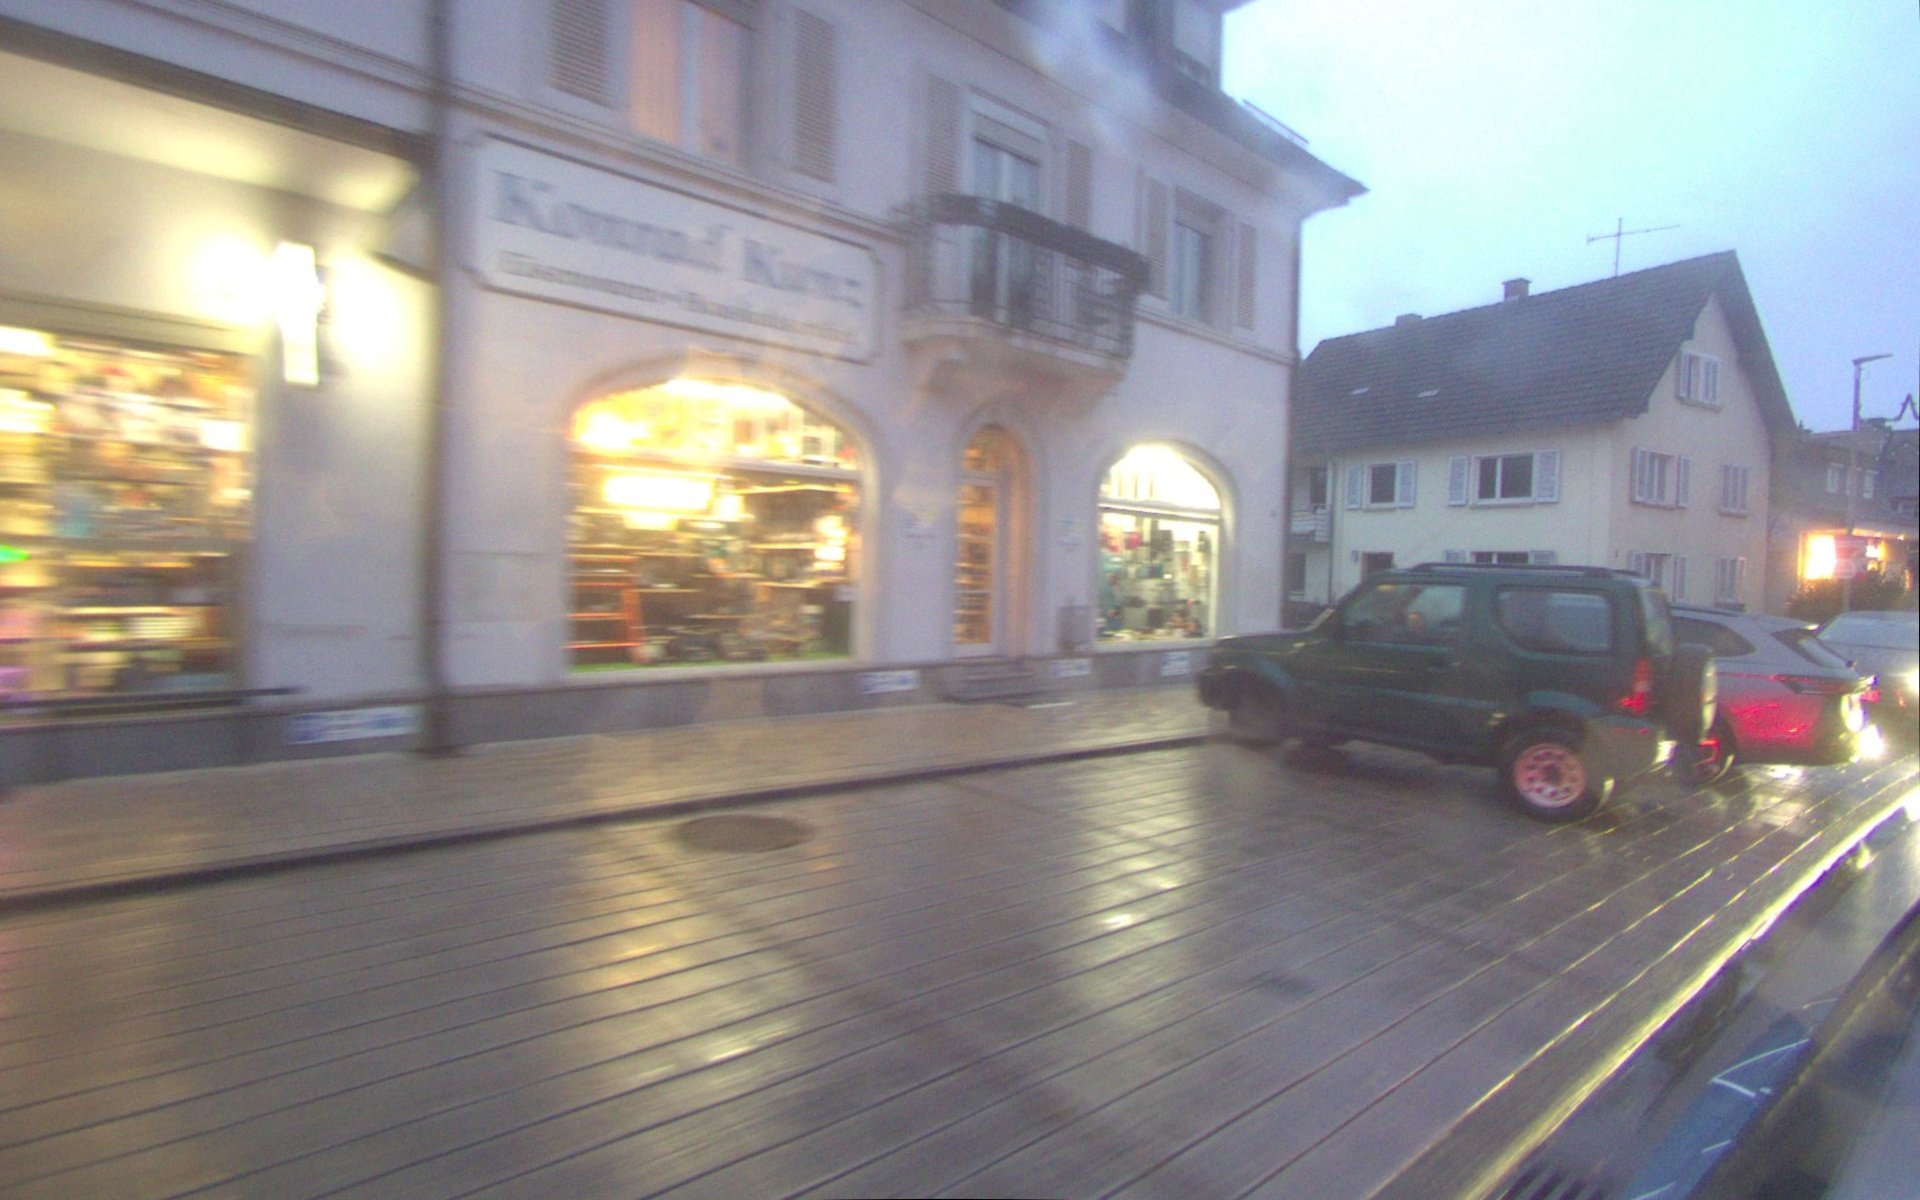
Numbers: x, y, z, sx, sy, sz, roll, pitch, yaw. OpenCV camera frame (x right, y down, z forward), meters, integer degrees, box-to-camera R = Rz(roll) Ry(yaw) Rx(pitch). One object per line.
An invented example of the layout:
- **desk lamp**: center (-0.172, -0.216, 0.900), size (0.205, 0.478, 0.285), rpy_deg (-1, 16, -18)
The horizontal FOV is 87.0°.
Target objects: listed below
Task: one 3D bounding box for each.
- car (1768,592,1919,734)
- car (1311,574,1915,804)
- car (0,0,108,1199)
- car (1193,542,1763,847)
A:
- **car**: center (12.598, 0.779, 13.424), size (4.585, 1.566, 1.888), rpy_deg (1, 2, -38)
- **car**: center (5.927, 0.622, 9.684), size (1.865, 1.491, 4.476), rpy_deg (1, 3, -41)
- **car**: center (-2.907, 0.333, 1.694), size (1.913, 1.798, 4.608), rpy_deg (1, 2, -44)
- **car**: center (3.820, 0.501, 7.827), size (1.688, 1.701, 3.507), rpy_deg (1, 3, -45)
